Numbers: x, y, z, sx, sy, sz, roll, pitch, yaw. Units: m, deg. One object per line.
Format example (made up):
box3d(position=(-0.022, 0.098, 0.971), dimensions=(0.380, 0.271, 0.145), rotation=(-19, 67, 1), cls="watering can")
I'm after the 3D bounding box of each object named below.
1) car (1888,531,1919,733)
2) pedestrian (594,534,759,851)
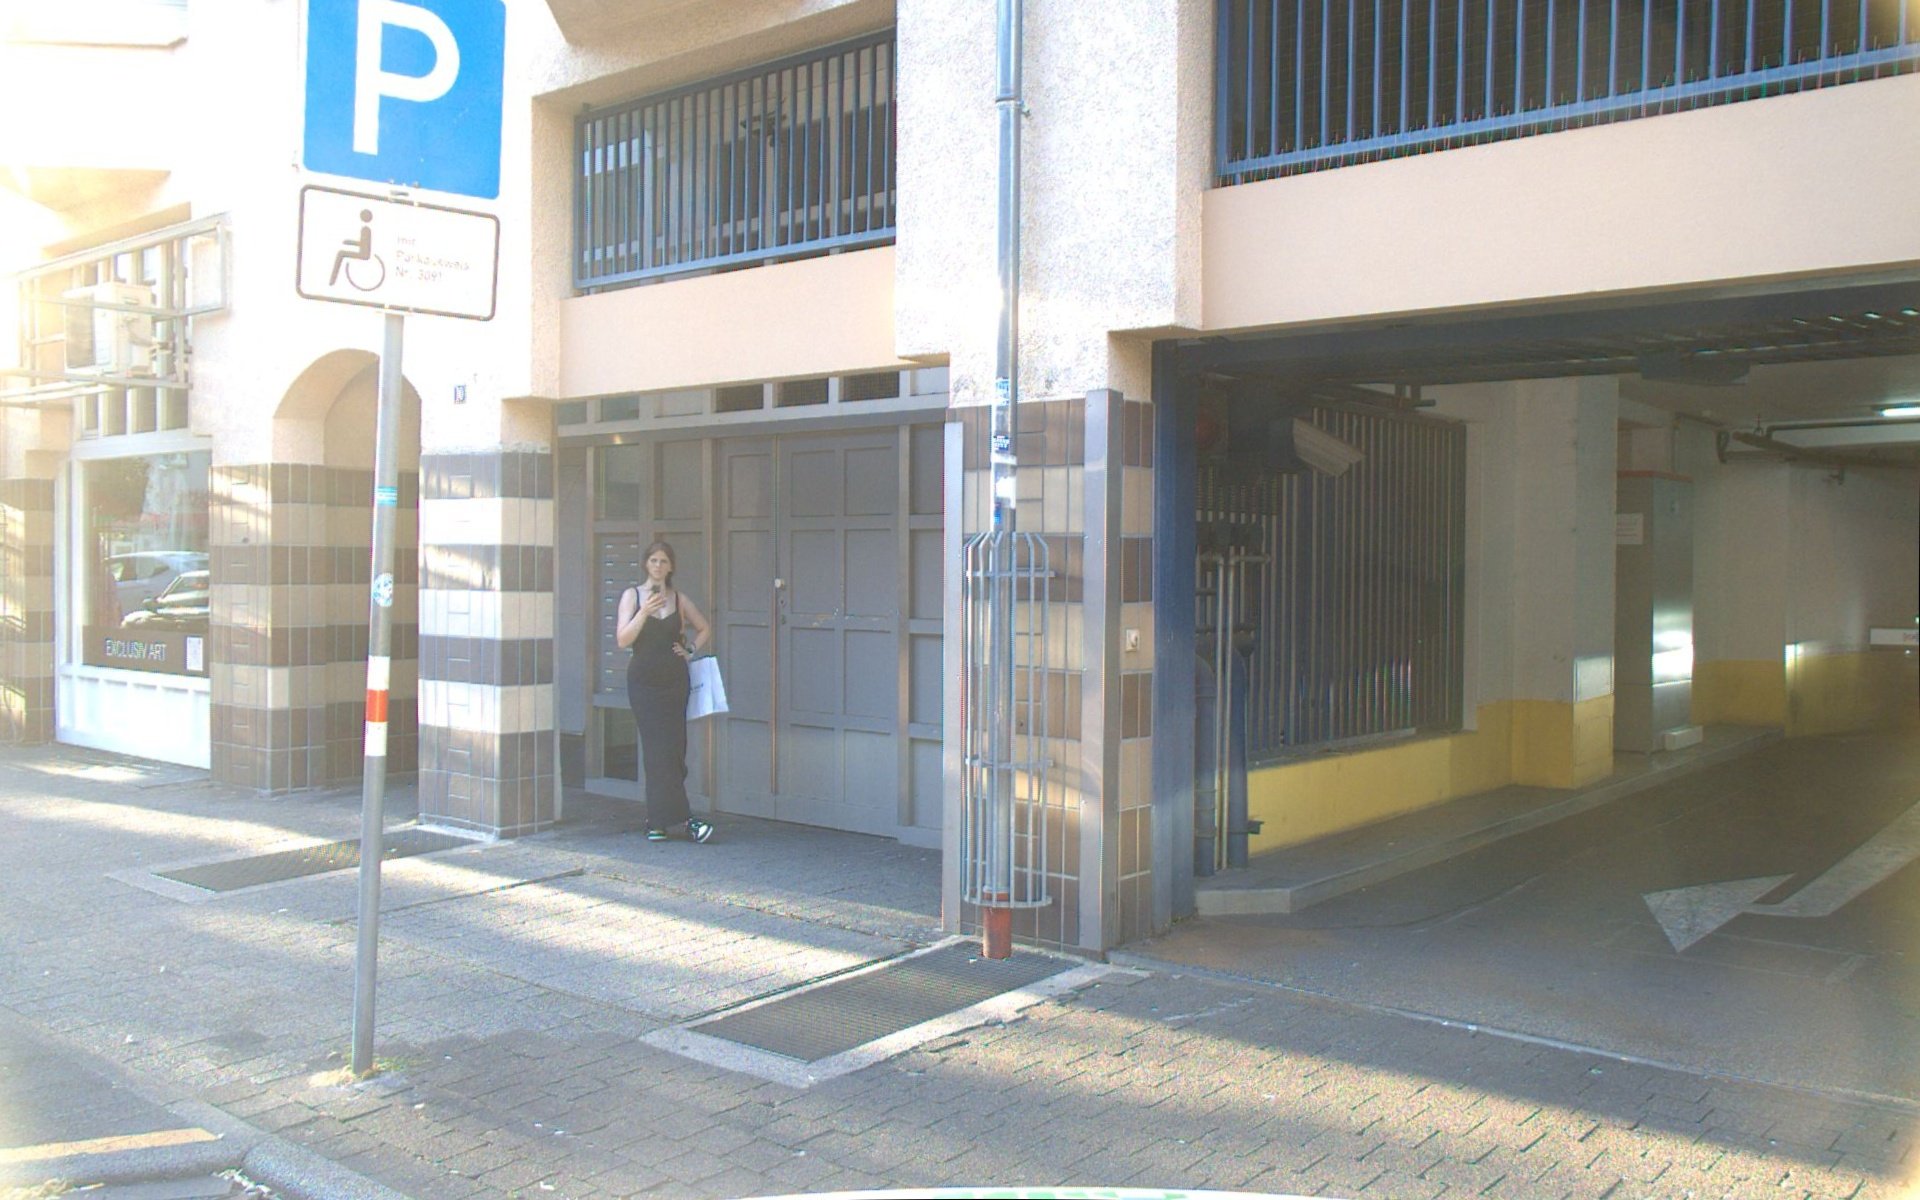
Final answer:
box3d(position=(9.586, 0.204, 13.957), dimensions=(4.214, 1.600, 1.792), rotation=(-2, 2, -42), cls="car")
box3d(position=(-1.503, 0.459, 8.738), dimensions=(0.765, 1.600, 0.530), rotation=(0, 1, -23), cls="pedestrian")
